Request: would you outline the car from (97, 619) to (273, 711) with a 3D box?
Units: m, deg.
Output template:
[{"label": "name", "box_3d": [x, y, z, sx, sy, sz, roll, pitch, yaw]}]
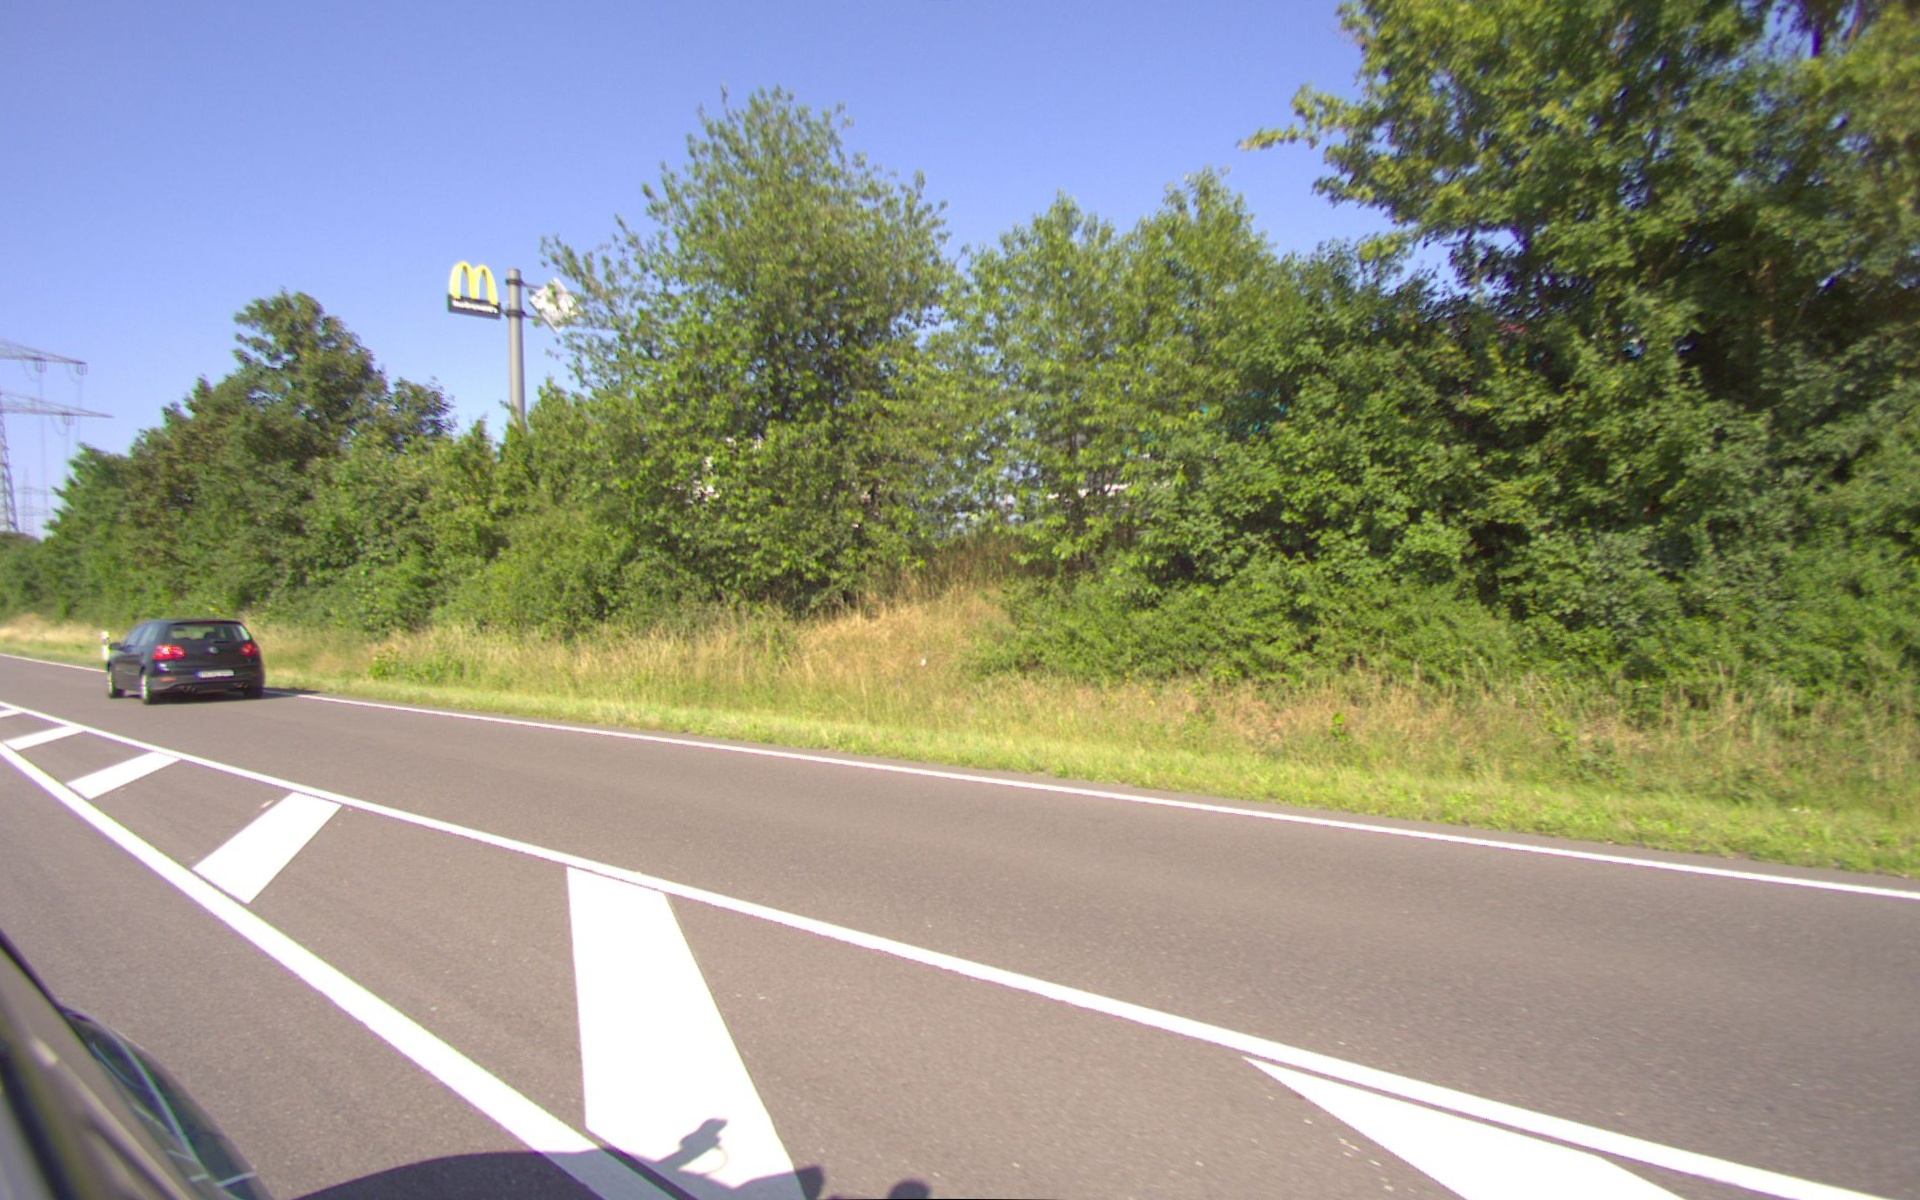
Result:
[{"label": "car", "box_3d": [-14.328, 1.120, 18.634, 3.996, 1.493, 1.732, -1, -1, 39]}]
